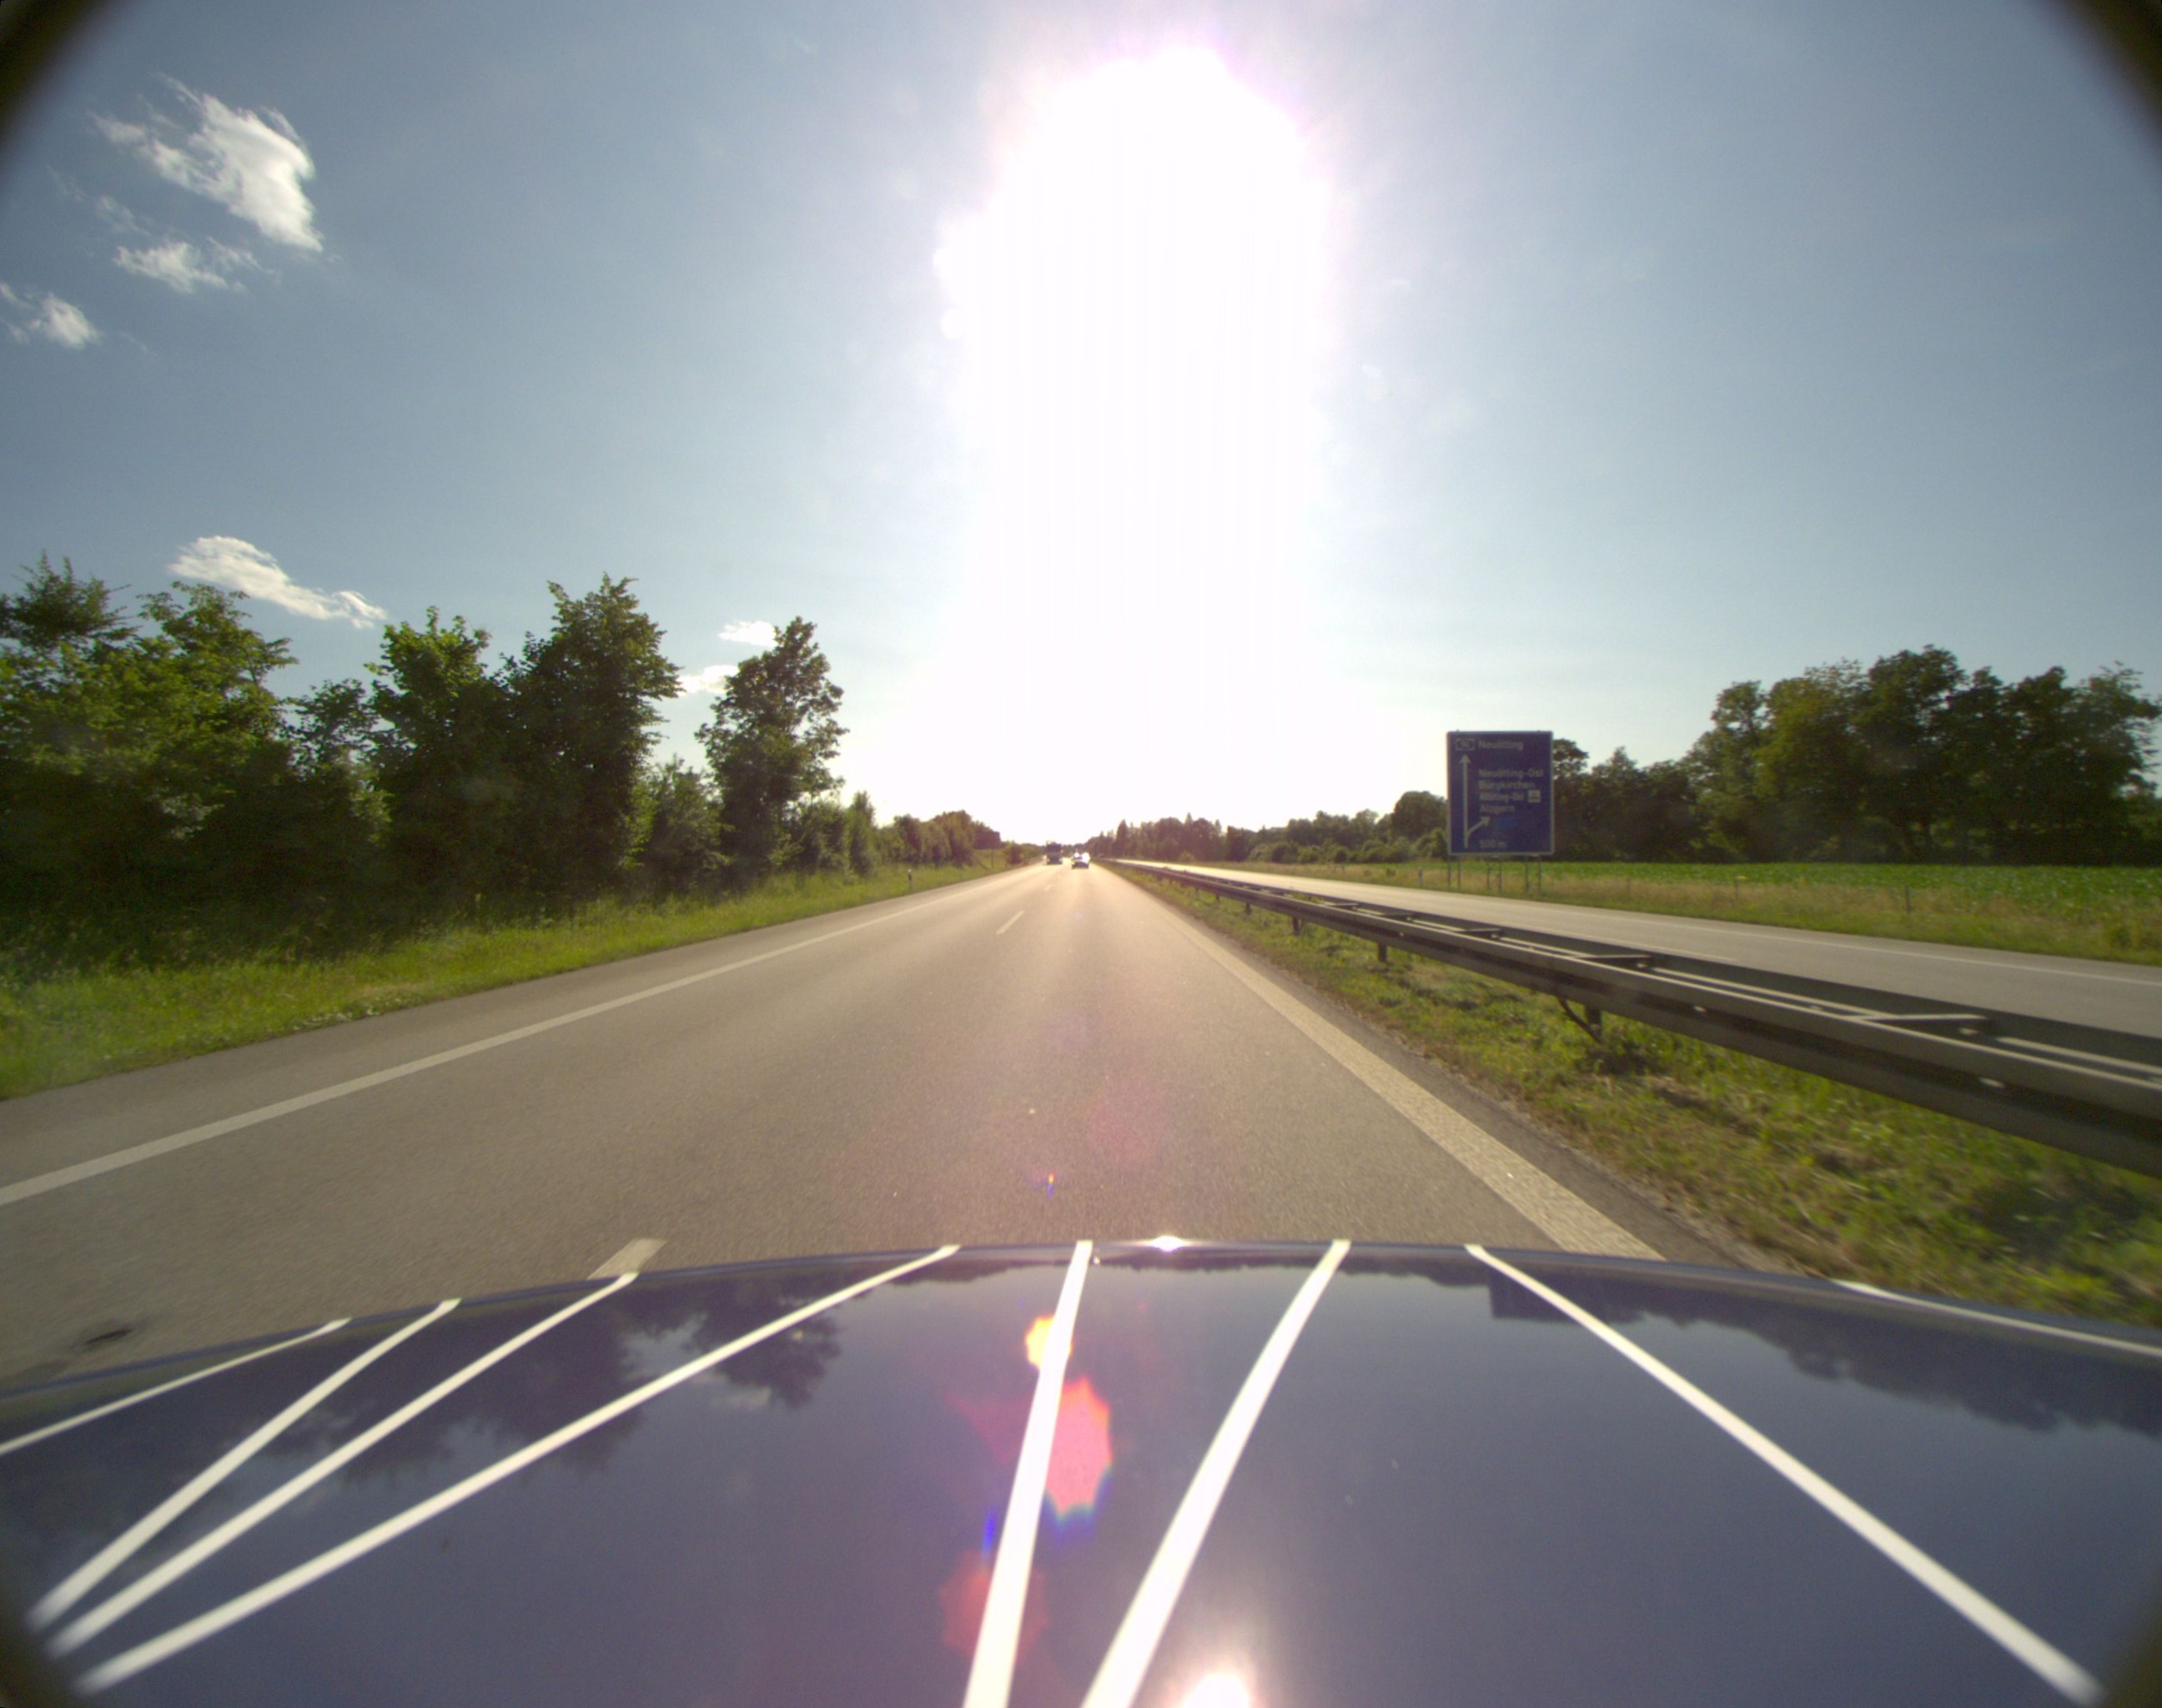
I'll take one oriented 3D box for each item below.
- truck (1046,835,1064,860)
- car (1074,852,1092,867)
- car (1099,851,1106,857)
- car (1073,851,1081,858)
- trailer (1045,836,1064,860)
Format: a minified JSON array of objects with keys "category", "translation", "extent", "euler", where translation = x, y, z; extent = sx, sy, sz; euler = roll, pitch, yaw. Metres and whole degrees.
[{"category":"truck","translation":[-4.268,-0.976,123.534],"extent":[2.848,3.943,7.041],"euler":[0,0,-4]},{"category":"car","translation":[0.224,0.593,81.938],"extent":[1.871,1.514,4.284],"euler":[1,0,0]},{"category":"car","translation":[7.082,0.013,247.441],"extent":[1.999,1.652,4.774],"euler":[1,0,-1]},{"category":"car","translation":[-0.979,0.122,180.701],"extent":[1.742,1.514,3.999],"euler":[-1,1,-2]},{"category":"trailer","translation":[-4.631,-1.004,130.327],"extent":[2.826,3.943,14.155],"euler":[0,0,-3]}]
